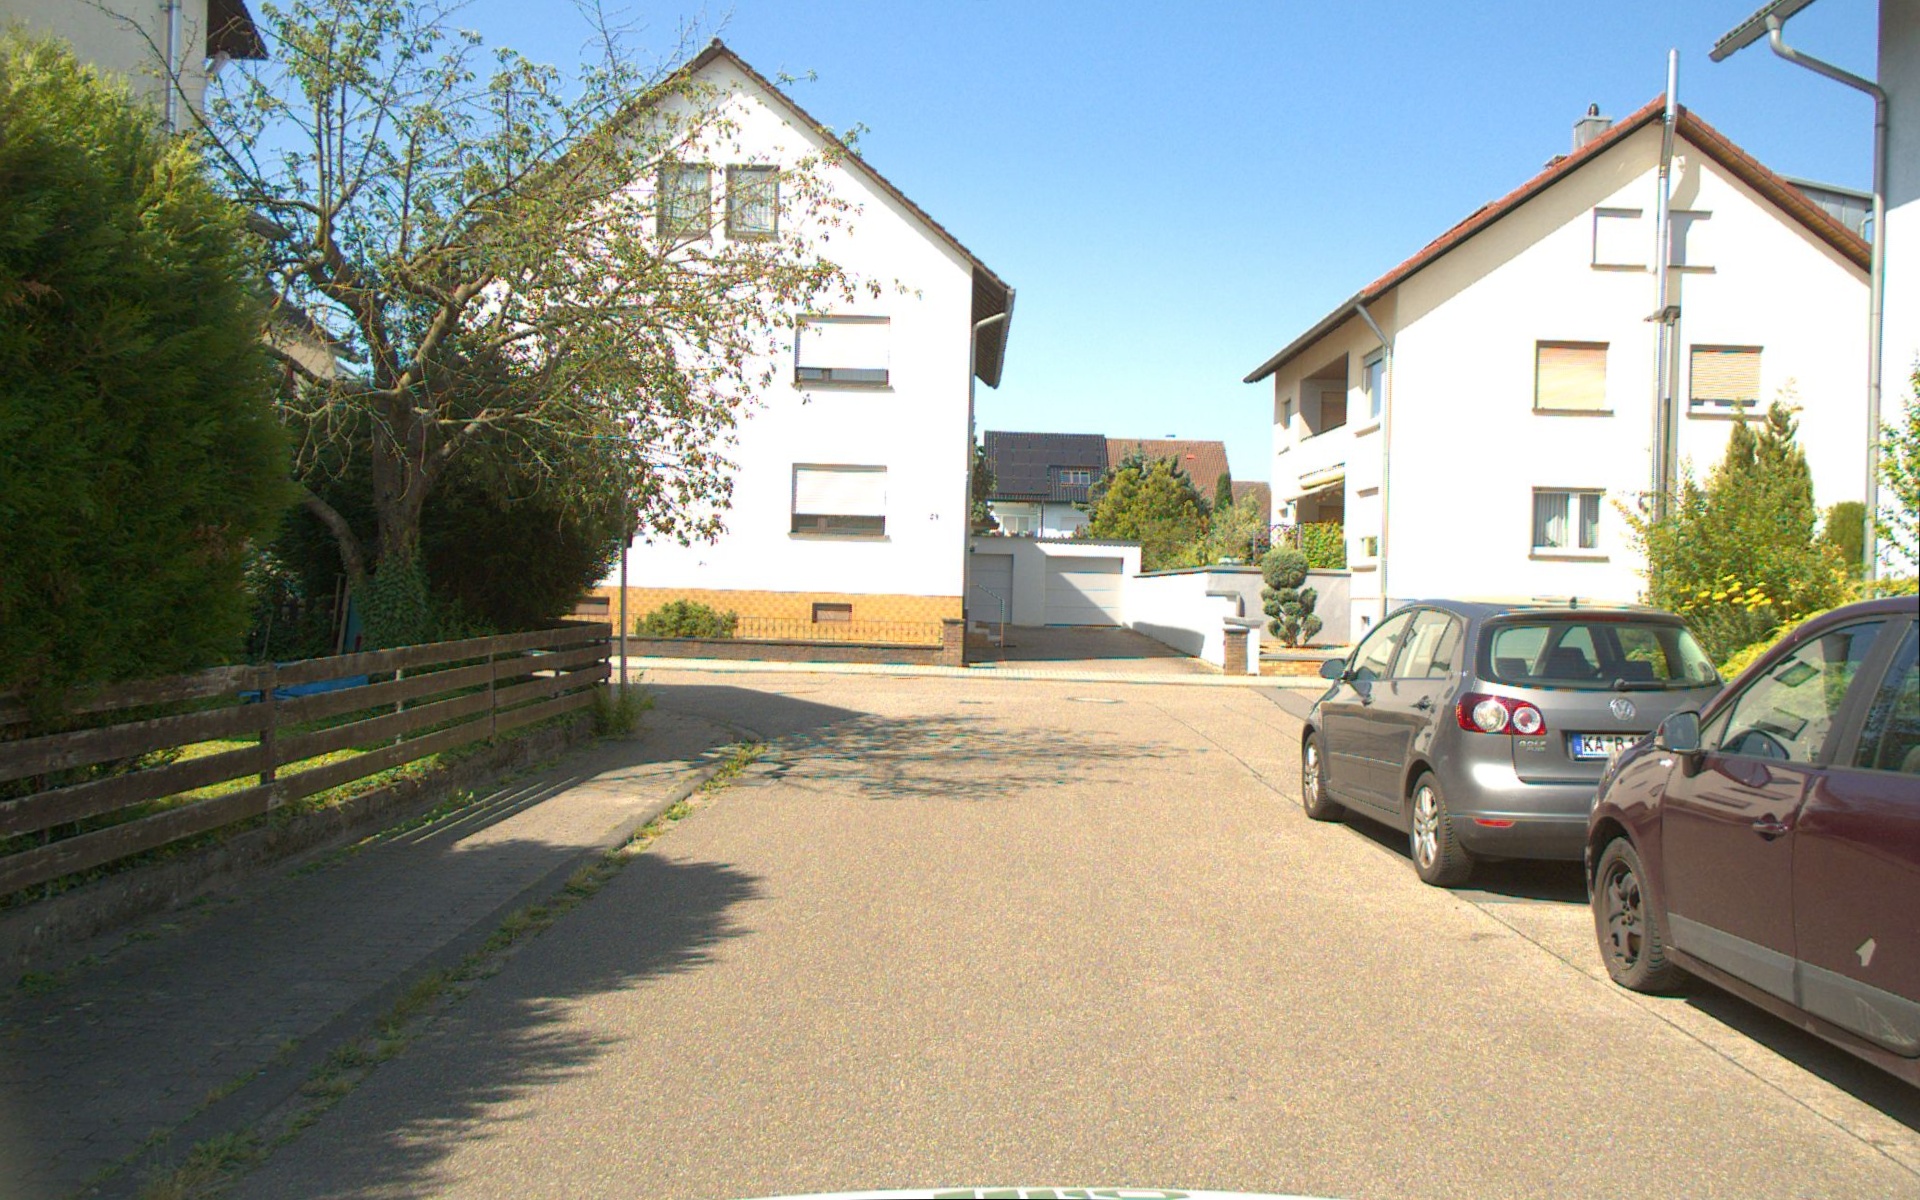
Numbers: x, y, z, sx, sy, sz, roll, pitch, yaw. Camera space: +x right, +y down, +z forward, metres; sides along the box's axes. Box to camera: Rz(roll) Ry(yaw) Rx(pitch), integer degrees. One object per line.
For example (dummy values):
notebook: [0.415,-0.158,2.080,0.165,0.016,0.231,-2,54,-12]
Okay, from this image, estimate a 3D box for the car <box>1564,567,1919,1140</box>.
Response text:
car: [3.519,0.717,5.396,1.611,1.609,4.148,1,1,1]

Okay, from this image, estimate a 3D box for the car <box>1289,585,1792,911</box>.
car: [3.360,0.735,10.439,1.612,1.572,4.047,3,0,-1]
